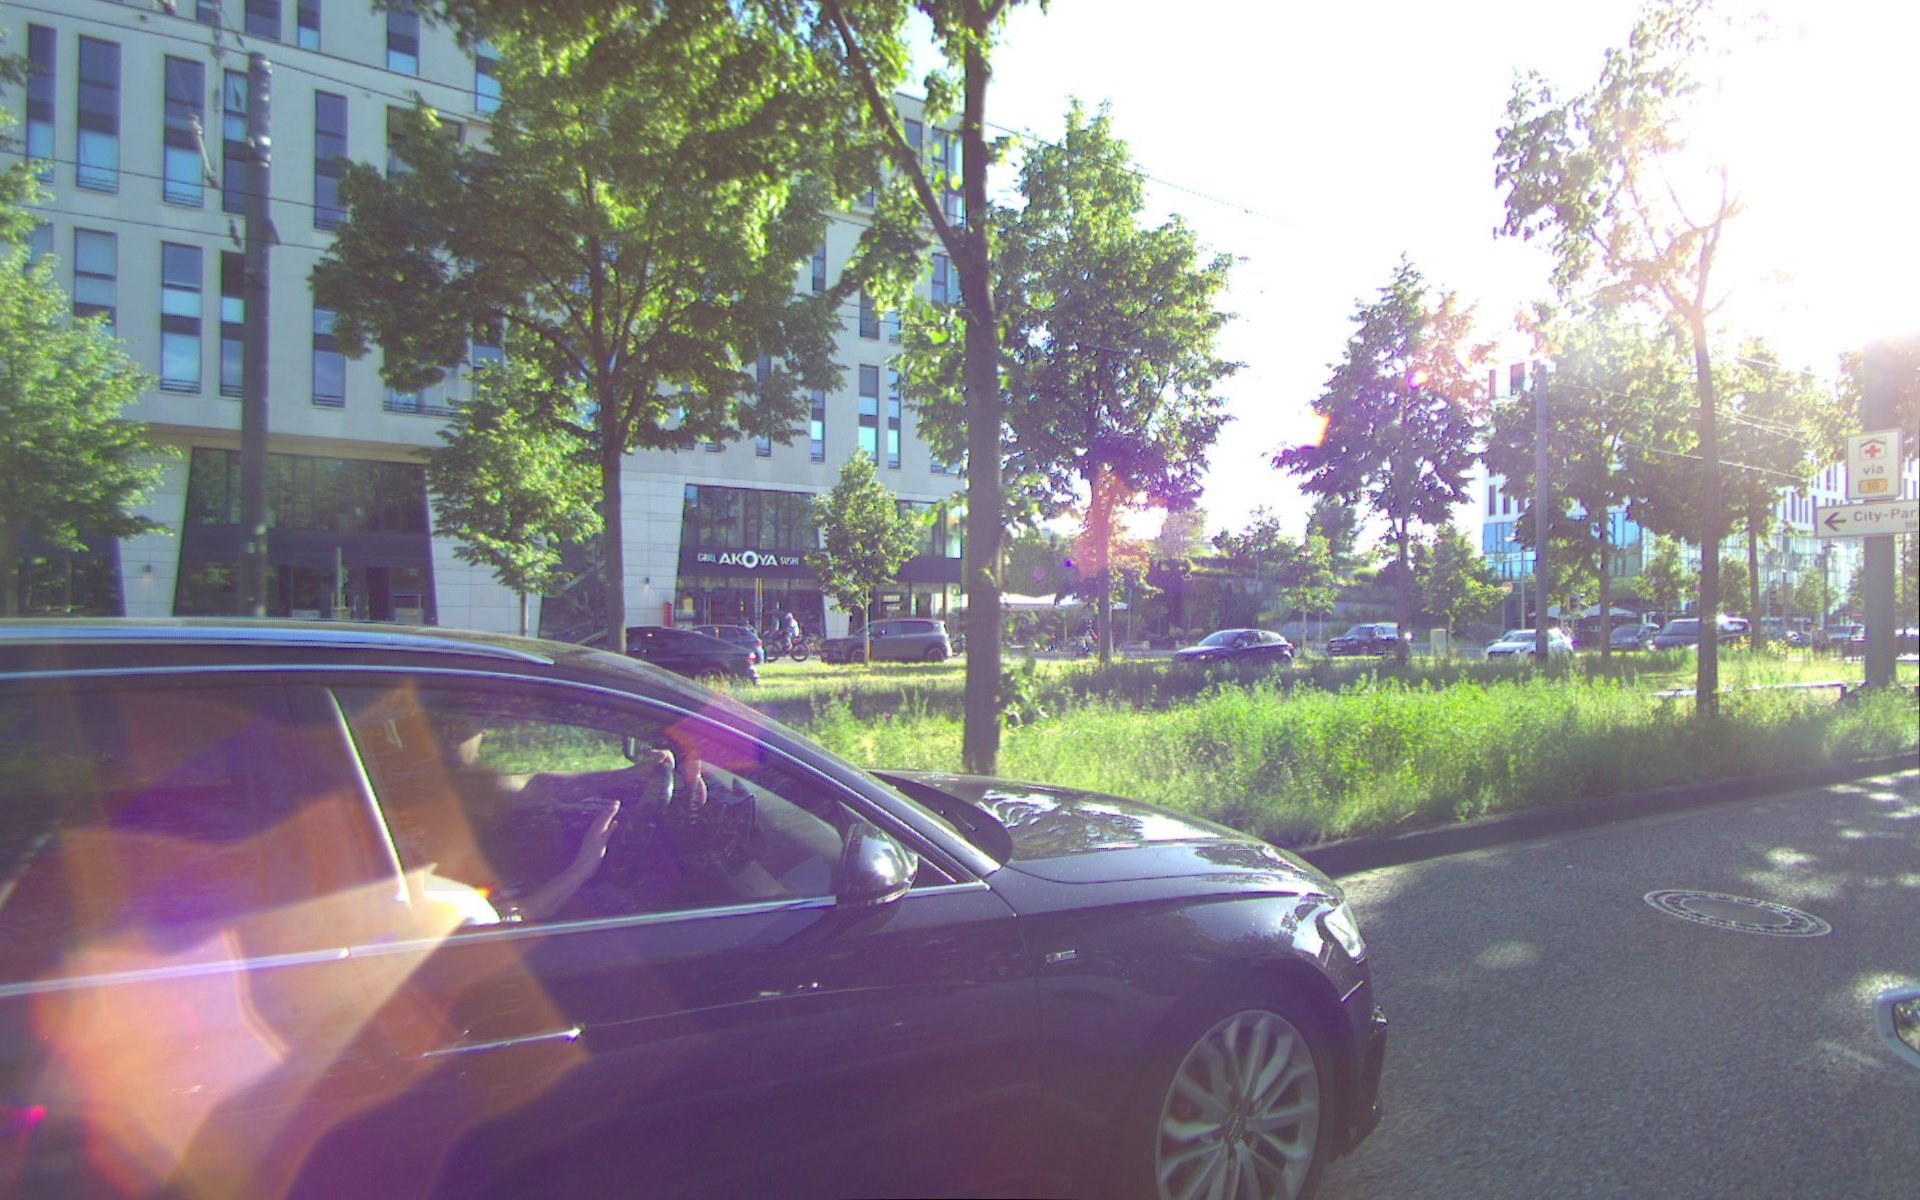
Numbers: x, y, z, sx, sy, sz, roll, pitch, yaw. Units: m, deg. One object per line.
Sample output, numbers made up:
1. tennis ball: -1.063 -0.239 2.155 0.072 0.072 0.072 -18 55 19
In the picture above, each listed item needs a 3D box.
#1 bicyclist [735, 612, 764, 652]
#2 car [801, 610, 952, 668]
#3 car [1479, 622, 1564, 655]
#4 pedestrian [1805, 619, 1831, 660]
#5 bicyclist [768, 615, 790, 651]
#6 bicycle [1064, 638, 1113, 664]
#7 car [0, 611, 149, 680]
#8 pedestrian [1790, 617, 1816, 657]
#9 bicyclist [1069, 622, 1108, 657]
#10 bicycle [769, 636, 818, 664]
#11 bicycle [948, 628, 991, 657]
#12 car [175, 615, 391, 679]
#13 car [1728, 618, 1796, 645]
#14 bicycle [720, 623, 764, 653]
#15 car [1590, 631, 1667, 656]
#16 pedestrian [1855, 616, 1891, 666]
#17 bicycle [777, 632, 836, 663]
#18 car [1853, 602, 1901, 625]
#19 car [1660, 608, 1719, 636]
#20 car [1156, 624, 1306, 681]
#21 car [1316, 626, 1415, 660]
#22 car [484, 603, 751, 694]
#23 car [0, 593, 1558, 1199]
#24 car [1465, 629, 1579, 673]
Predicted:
1. bicyclist: -7.645 1.172 36.472 0.944 1.438 0.428 2 0 -29
2. car: -2.794 1.298 34.095 4.725 1.795 1.982 2 0 -33
3. car: 30.285 2.089 54.169 4.555 1.642 1.871 2 0 -29
4. pedestrian: 32.820 1.503 38.427 0.580 1.538 0.548 2 0 -25
5. bicyclist: -6.805 1.254 37.861 0.710 1.320 0.366 2 0 -29
6. bicycle: 5.355 2.116 41.817 2.163 1.014 0.494 2 0 -31
7. car: -21.880 1.012 23.010 4.883 1.460 1.982 2 0 -33
8. pedestrian: 32.940 1.449 39.259 0.595 1.516 0.541 2 0 -26
9. bicyclist: 5.343 1.651 41.808 1.641 1.424 0.486 2 0 -31
10. bicycle: -6.323 1.882 38.145 1.778 1.030 0.377 2 0 -29
11. bicycle: 0.438 1.871 44.330 1.818 1.269 0.585 2 0 -31
12. car: -17.138 1.177 25.676 4.408 1.460 1.982 2 0 -33
13. car: 54.219 2.129 67.878 4.555 1.694 1.984 2 0 -29
14. bicycle: -7.883 1.383 36.337 1.466 1.030 0.428 2 0 -29
15. car: 39.605 2.568 59.479 4.555 1.343 1.904 2 0 -29
16. pedestrian: 34.520 1.544 37.966 0.718 1.860 0.816 1 0 -32
17. bicycle: -6.166 1.915 40.435 2.215 1.214 0.729 2 0 -31
18. car: 86.192 1.257 94.376 4.508 2.040 1.984 2 0 -29
19. car: 57.404 1.759 79.027 4.508 2.040 1.984 2 1 -29
20. car: 8.287 1.571 30.666 4.269 1.548 1.984 2 0 -31
21. car: 19.080 2.024 47.229 4.555 1.454 1.871 2 0 -29
22. car: -6.307 0.866 18.559 4.400 1.460 1.986 2 0 -28
23. car: -0.969 0.754 2.264 5.028 1.500 1.942 0 0 -32
24. car: 21.840 1.941 39.018 4.114 1.592 1.986 1 -1 -28
